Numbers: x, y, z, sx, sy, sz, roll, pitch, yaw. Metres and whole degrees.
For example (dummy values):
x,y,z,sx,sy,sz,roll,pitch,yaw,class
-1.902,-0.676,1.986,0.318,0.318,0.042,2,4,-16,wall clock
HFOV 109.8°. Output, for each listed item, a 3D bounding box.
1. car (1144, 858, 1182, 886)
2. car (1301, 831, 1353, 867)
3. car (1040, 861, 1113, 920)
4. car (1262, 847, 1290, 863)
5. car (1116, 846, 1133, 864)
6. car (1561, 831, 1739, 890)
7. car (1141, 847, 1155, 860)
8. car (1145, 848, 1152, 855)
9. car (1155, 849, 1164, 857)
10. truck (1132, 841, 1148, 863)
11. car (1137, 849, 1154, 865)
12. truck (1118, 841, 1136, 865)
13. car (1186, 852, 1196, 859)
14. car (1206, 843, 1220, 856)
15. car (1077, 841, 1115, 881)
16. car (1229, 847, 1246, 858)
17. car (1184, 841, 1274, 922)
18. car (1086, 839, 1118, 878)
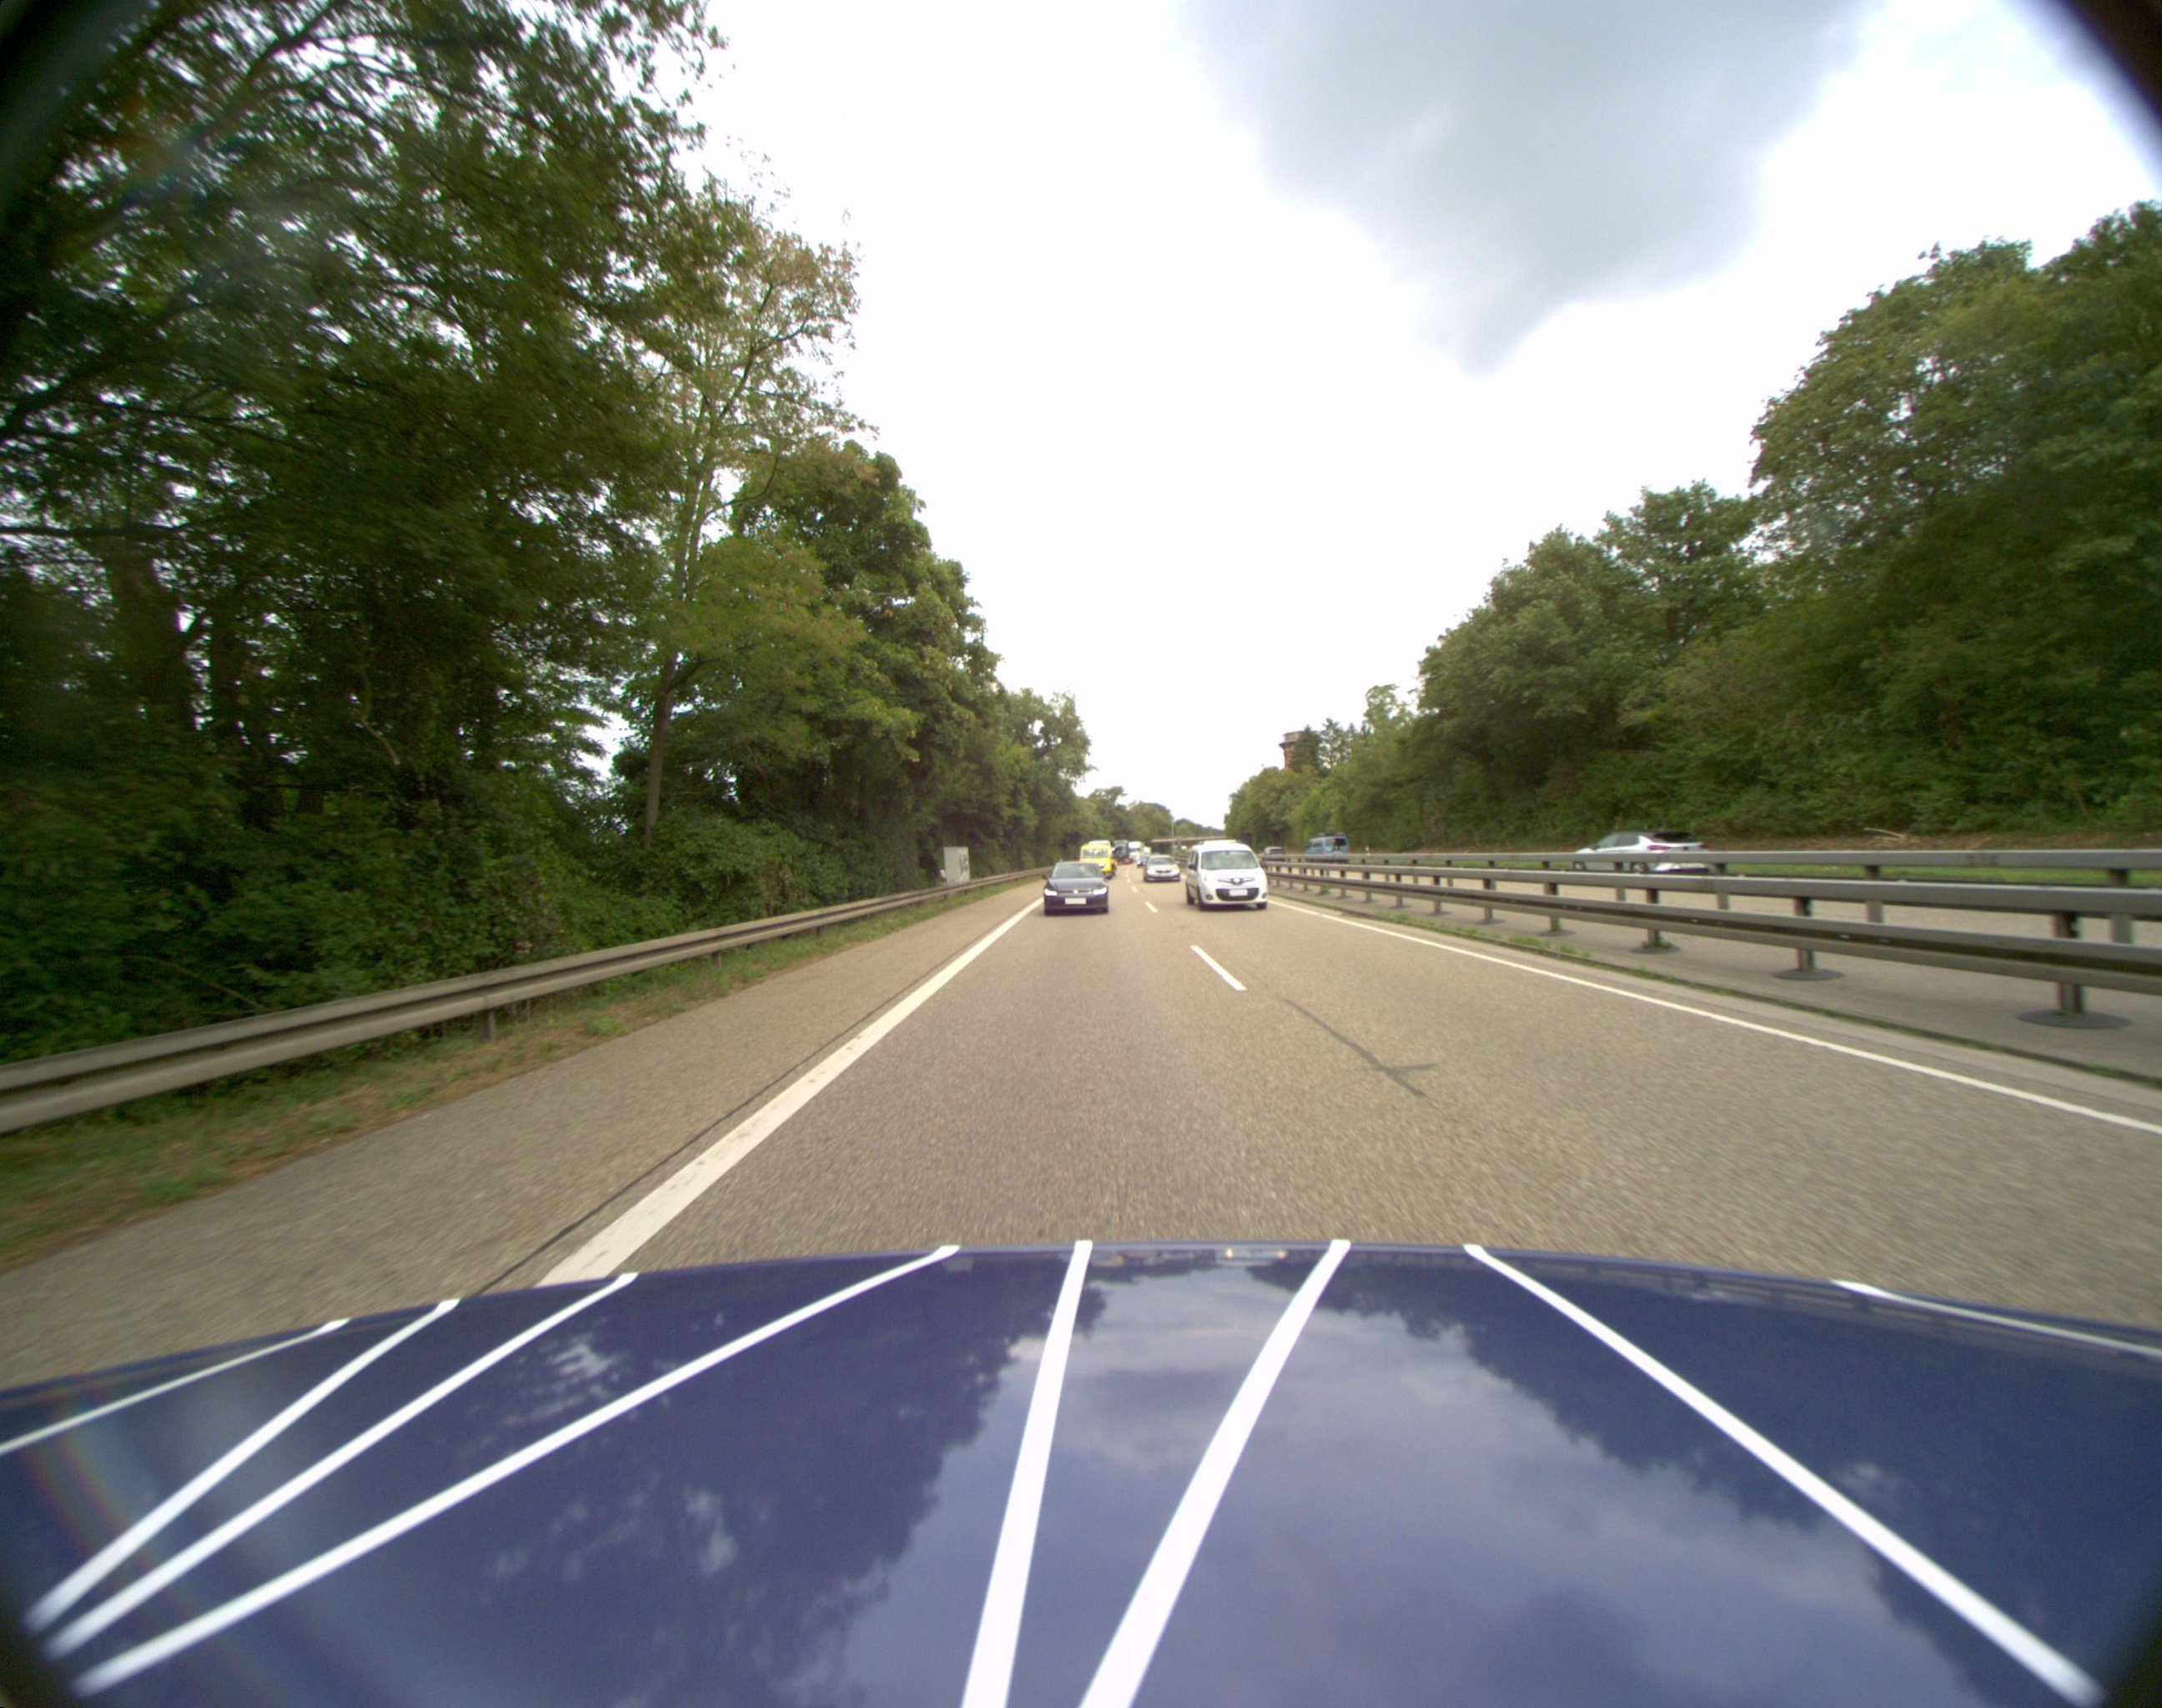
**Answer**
x,y,z,sx,sy,sz,roll,pitch,yaw,class
4.539,0.978,42.540,1.772,1.416,4.198,-1,0,1,car
16.891,-0.316,52.409,1.940,2.308,5.305,-1,0,2,car
-0.016,0.969,21.784,1.800,1.398,4.640,-1,0,3,car
18.784,0.082,73.326,1.698,1.458,4.090,-1,0,2,car
4.477,0.105,78.527,1.678,1.763,3.938,-1,0,2,car
15.997,0.152,21.693,1.998,1.472,4.131,-2,0,0,car
9.432,-0.022,106.703,1.678,1.763,3.938,-1,0,2,car
17.011,-0.617,190.933,1.680,1.840,4.001,-1,0,5,car
18.100,-0.262,175.509,1.815,1.840,4.001,-1,0,5,car
12.508,-0.495,159.999,3.098,4.462,12.214,-1,0,6,truck
7.584,0.367,89.472,1.678,1.763,3.938,-1,0,2,car
7.396,-0.178,121.908,2.547,3.564,6.459,-1,0,5,truck
22.827,0.308,157.750,1.786,1.554,4.015,-1,0,3,car
22.465,-0.763,129.548,2.070,2.243,5.378,-1,0,8,car
0.997,0.416,48.592,2.247,2.334,5.225,-1,0,2,car
21.845,-0.204,106.152,1.997,1.501,4.507,-1,0,8,car
4.019,0.688,21.321,1.821,1.993,4.424,-1,0,3,car
1.609,0.274,57.396,2.207,2.732,6.168,-1,0,2,car
